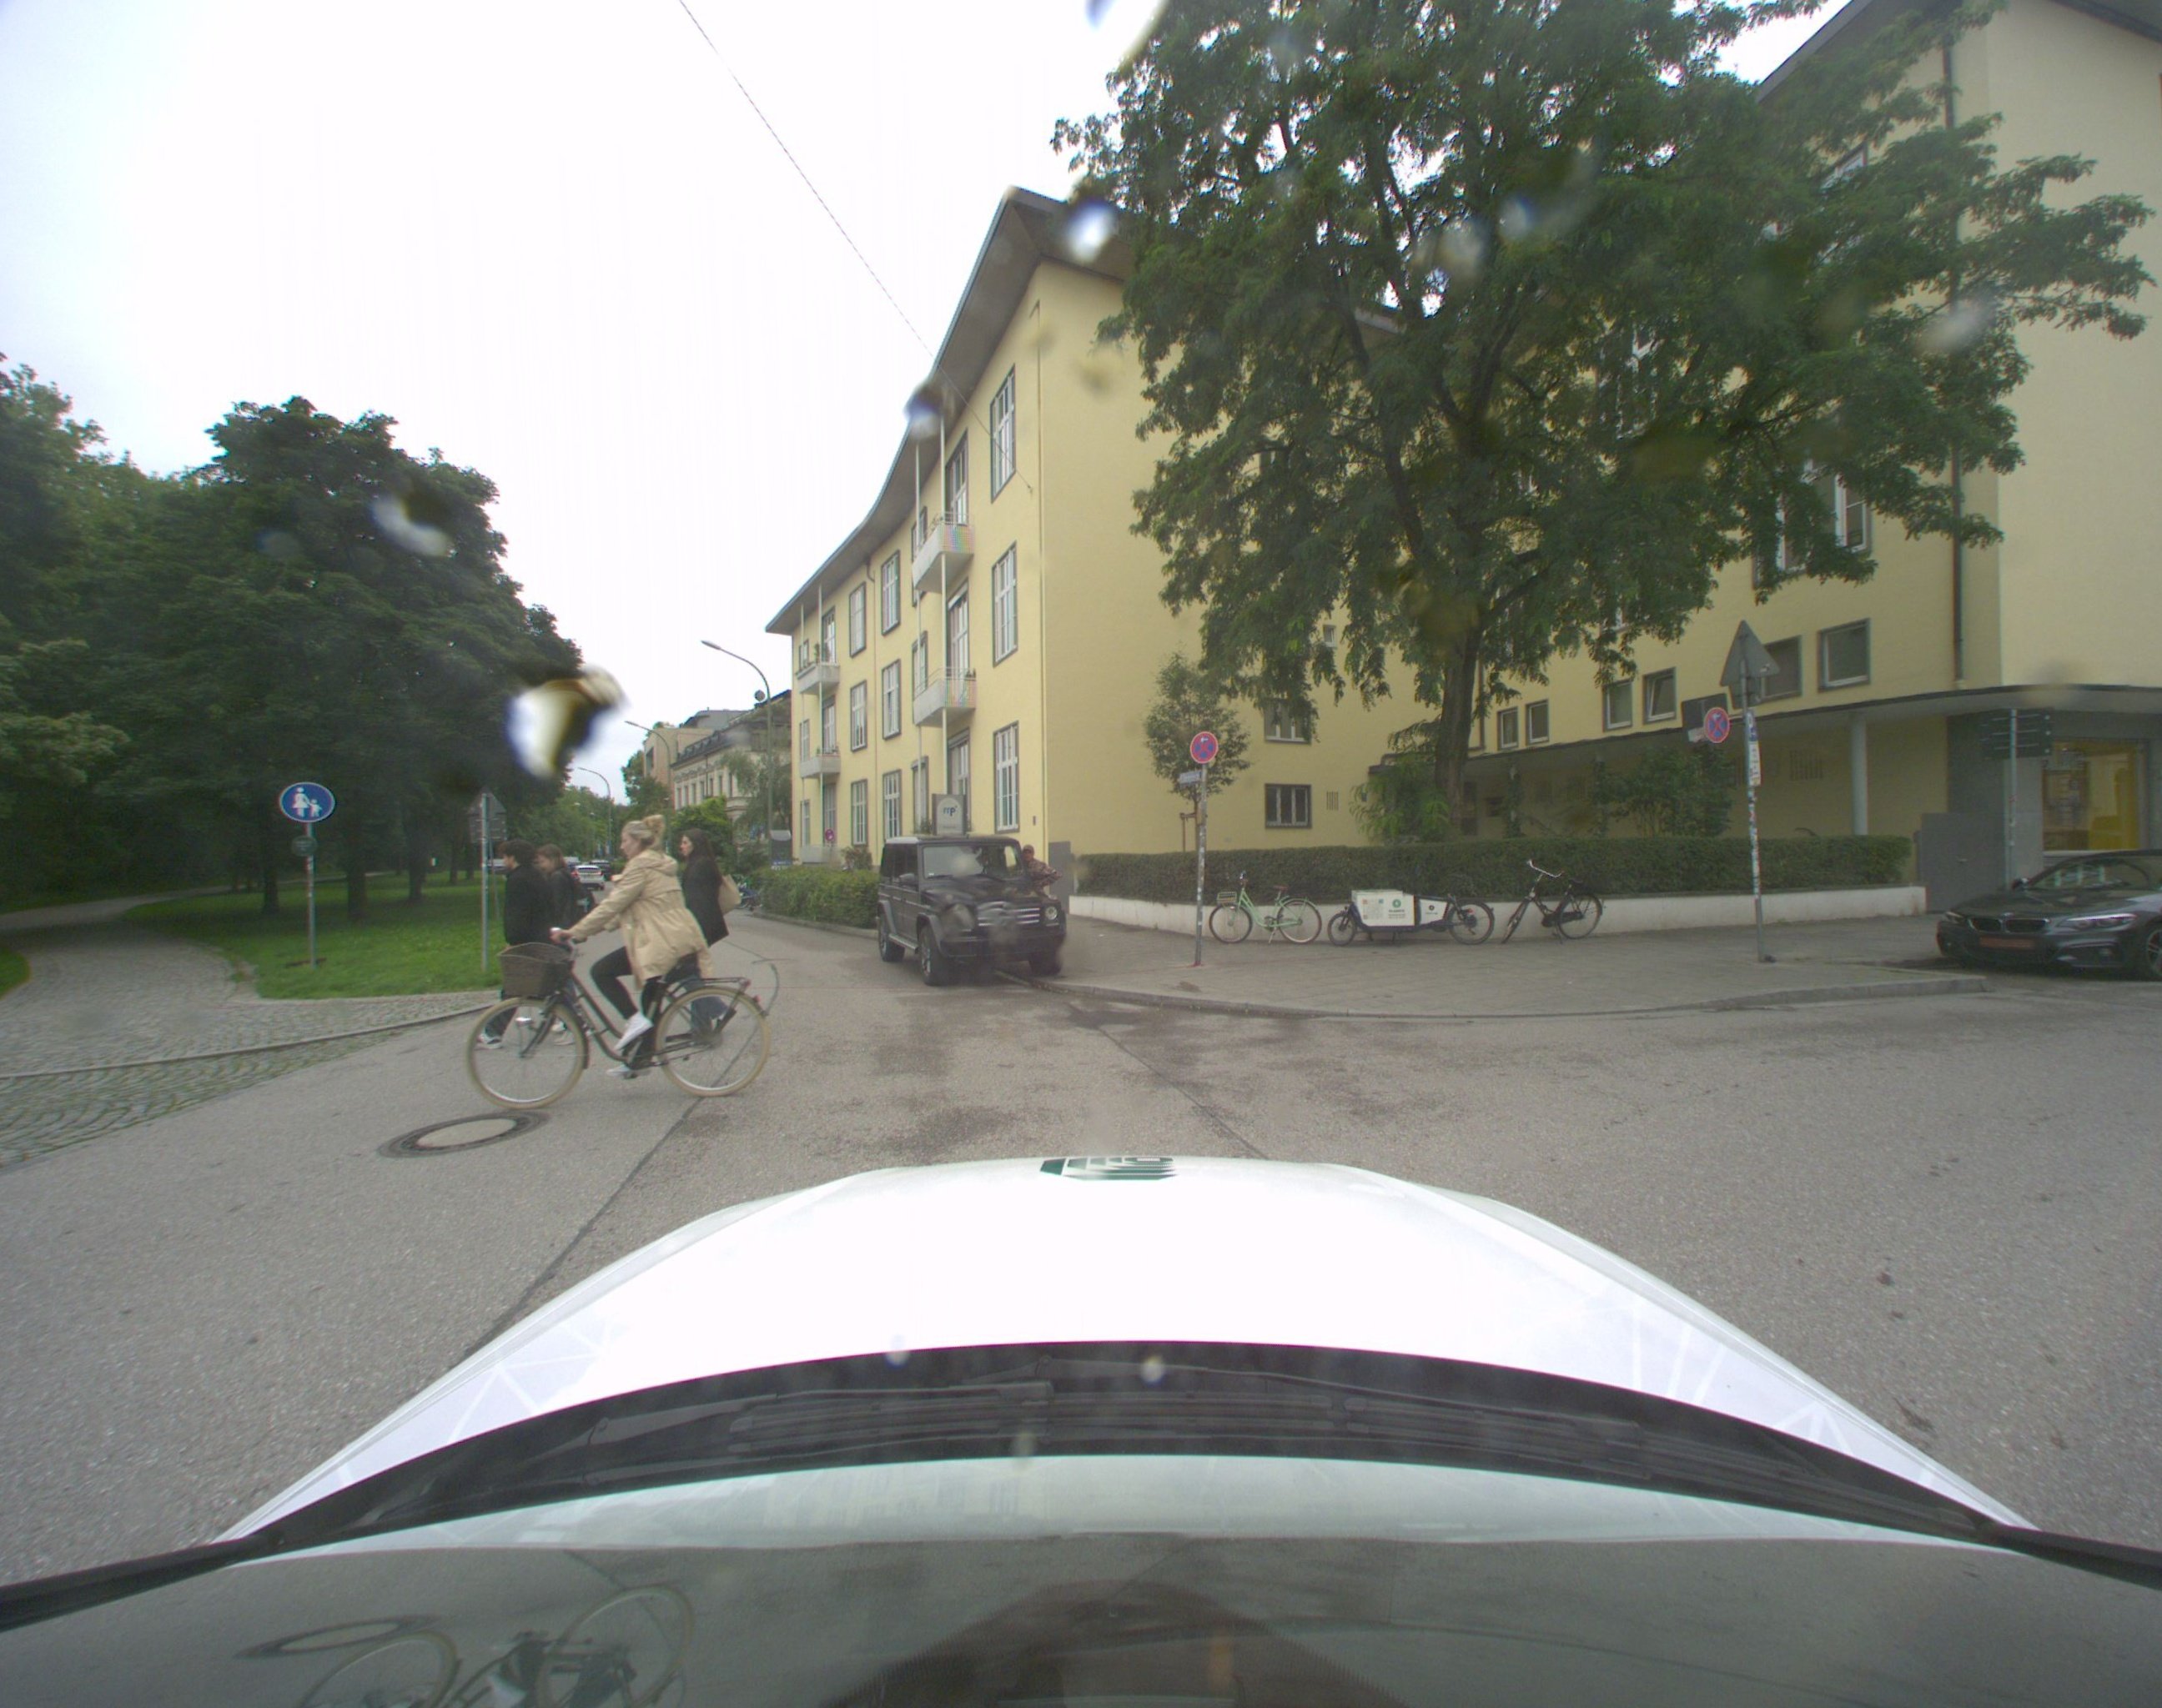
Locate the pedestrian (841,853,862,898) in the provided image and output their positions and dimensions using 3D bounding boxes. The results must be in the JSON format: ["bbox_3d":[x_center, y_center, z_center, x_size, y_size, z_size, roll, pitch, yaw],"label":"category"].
[{"bbox_3d":[-8.924,0.834,31.650,0.634,1.684,0.692,-2,0,-26],"label":"pedestrian"}]

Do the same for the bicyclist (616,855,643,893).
[{"bbox_3d":[-21.625,0.935,38.992,0.921,1.764,1.201,-1,0,-38],"label":"bicyclist"}]

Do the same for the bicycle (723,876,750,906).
[{"bbox_3d":[-12.864,1.379,30.438,0.365,1.014,1.536,-2,0,-3],"label":"bicycle"}]

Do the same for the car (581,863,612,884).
[{"bbox_3d":[-39.928,1.575,67.056,1.807,1.680,3.955,-1,0,-37],"label":"car"}]

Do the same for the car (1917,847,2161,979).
[{"bbox_3d":[12.808,0.620,9.807,4.320,1.367,1.656,-1,-3,-10],"label":"car"}]

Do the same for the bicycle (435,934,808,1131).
[{"bbox_3d":[-2.873,1.100,5.287,1.959,1.024,0.683,-1,0,-8],"label":"bicycle"}]

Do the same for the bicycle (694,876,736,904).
[{"bbox_3d":[-14.394,1.417,32.066,0.404,1.014,1.547,-2,0,29],"label":"bicycle"}]

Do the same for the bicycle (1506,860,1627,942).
[{"bbox_3d":[7.219,0.682,12.118,1.684,1.130,0.458,-1,0,-13],"label":"bicycle"}]

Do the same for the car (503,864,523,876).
[{"bbox_3d":[-77.857,2.212,111.648,2.007,1.600,4.422,-1,0,-31],"label":"car"}]

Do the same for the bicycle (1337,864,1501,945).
[{"bbox_3d":[4.997,0.743,12.141,2.157,1.115,0.641,-1,0,4],"label":"bicycle"}]

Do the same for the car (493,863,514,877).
[{"bbox_3d":[-70.073,1.949,98.801,2.009,1.600,4.418,-1,0,-36],"label":"car"}]

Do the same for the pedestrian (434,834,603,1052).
[{"bbox_3d":[-4.915,0.748,7.164,0.986,1.809,0.660,-2,-1,1],"label":"pedestrian"}]

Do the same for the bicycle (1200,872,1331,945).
[{"bbox_3d":[2.915,0.877,12.971,1.925,1.085,0.532,-4,-2,31],"label":"bicycle"}]

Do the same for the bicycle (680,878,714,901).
[{"bbox_3d":[-18.494,1.724,39.285,0.404,1.014,1.547,-2,0,25],"label":"bicycle"}]

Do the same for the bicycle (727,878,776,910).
[{"bbox_3d":[-11.691,1.415,28.914,1.545,1.014,0.363,-2,0,-38],"label":"bicycle"}]

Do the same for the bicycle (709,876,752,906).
[{"bbox_3d":[-13.496,1.416,31.393,0.362,1.014,1.548,-2,0,34],"label":"bicycle"}]

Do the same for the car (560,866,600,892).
[{"bbox_3d":[-28.959,1.414,47.027,1.760,1.406,3.687,-1,0,-34],"label":"car"}]

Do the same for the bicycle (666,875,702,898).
[{"bbox_3d":[-19.284,1.569,39.580,0.404,1.014,1.547,-2,0,38],"label":"bicycle"}]

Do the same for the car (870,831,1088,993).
[{"bbox_3d":[-1.743,0.692,12.090,1.883,1.887,4.580,-1,0,-25],"label":"car"}]

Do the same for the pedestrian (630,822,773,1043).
[{"bbox_3d":[-3.393,0.671,7.350,0.847,1.857,0.767,-2,-1,1],"label":"pedestrian"}]

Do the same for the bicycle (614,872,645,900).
[{"bbox_3d":[-21.610,1.502,38.981,0.928,1.252,2.295,-1,0,-38],"label":"bicycle"}]

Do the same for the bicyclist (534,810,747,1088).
[{"bbox_3d":[-2.815,0.565,5.302,1.003,1.656,0.694,-1,0,-9],"label":"bicyclist"}]

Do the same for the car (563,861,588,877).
[{"bbox_3d":[-55.108,1.614,88.748,2.009,1.600,4.207,-1,0,-37],"label":"car"}]

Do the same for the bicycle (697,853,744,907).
[{"bbox_3d":[-13.967,0.983,31.579,0.451,2.013,1.687,-2,0,29],"label":"bicycle"}]

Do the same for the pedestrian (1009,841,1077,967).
[{"bbox_3d":[-0.574,0.712,12.083,0.848,1.757,0.950,-2,0,-10],"label":"pedestrian"}]

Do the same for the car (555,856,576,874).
[{"bbox_3d":[-60.825,1.302,96.066,2.080,1.966,4.926,-1,0,-33],"label":"car"}]

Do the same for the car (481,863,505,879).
[{"bbox_3d":[-61.309,1.772,84.914,2.009,1.600,4.418,-1,0,-36],"label":"car"}]

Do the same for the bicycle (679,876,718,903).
[{"bbox_3d":[-16.065,1.483,34.269,0.404,1.014,1.547,-2,0,25],"label":"bicycle"}]

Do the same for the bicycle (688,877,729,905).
[{"bbox_3d":[-14.799,1.474,32.420,0.404,1.014,1.547,-2,0,25],"label":"bicycle"}]

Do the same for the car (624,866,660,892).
[{"bbox_3d":[-27.813,1.558,51.578,1.659,1.558,3.522,-1,0,-34],"label":"car"}]

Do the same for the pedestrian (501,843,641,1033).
[{"bbox_3d":[-4.898,0.776,7.868,0.822,1.746,0.742,-1,0,8],"label":"pedestrian"}]

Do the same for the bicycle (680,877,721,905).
[{"bbox_3d":[-15.247,1.462,32.638,0.404,1.014,1.547,-2,0,25],"label":"bicycle"}]
